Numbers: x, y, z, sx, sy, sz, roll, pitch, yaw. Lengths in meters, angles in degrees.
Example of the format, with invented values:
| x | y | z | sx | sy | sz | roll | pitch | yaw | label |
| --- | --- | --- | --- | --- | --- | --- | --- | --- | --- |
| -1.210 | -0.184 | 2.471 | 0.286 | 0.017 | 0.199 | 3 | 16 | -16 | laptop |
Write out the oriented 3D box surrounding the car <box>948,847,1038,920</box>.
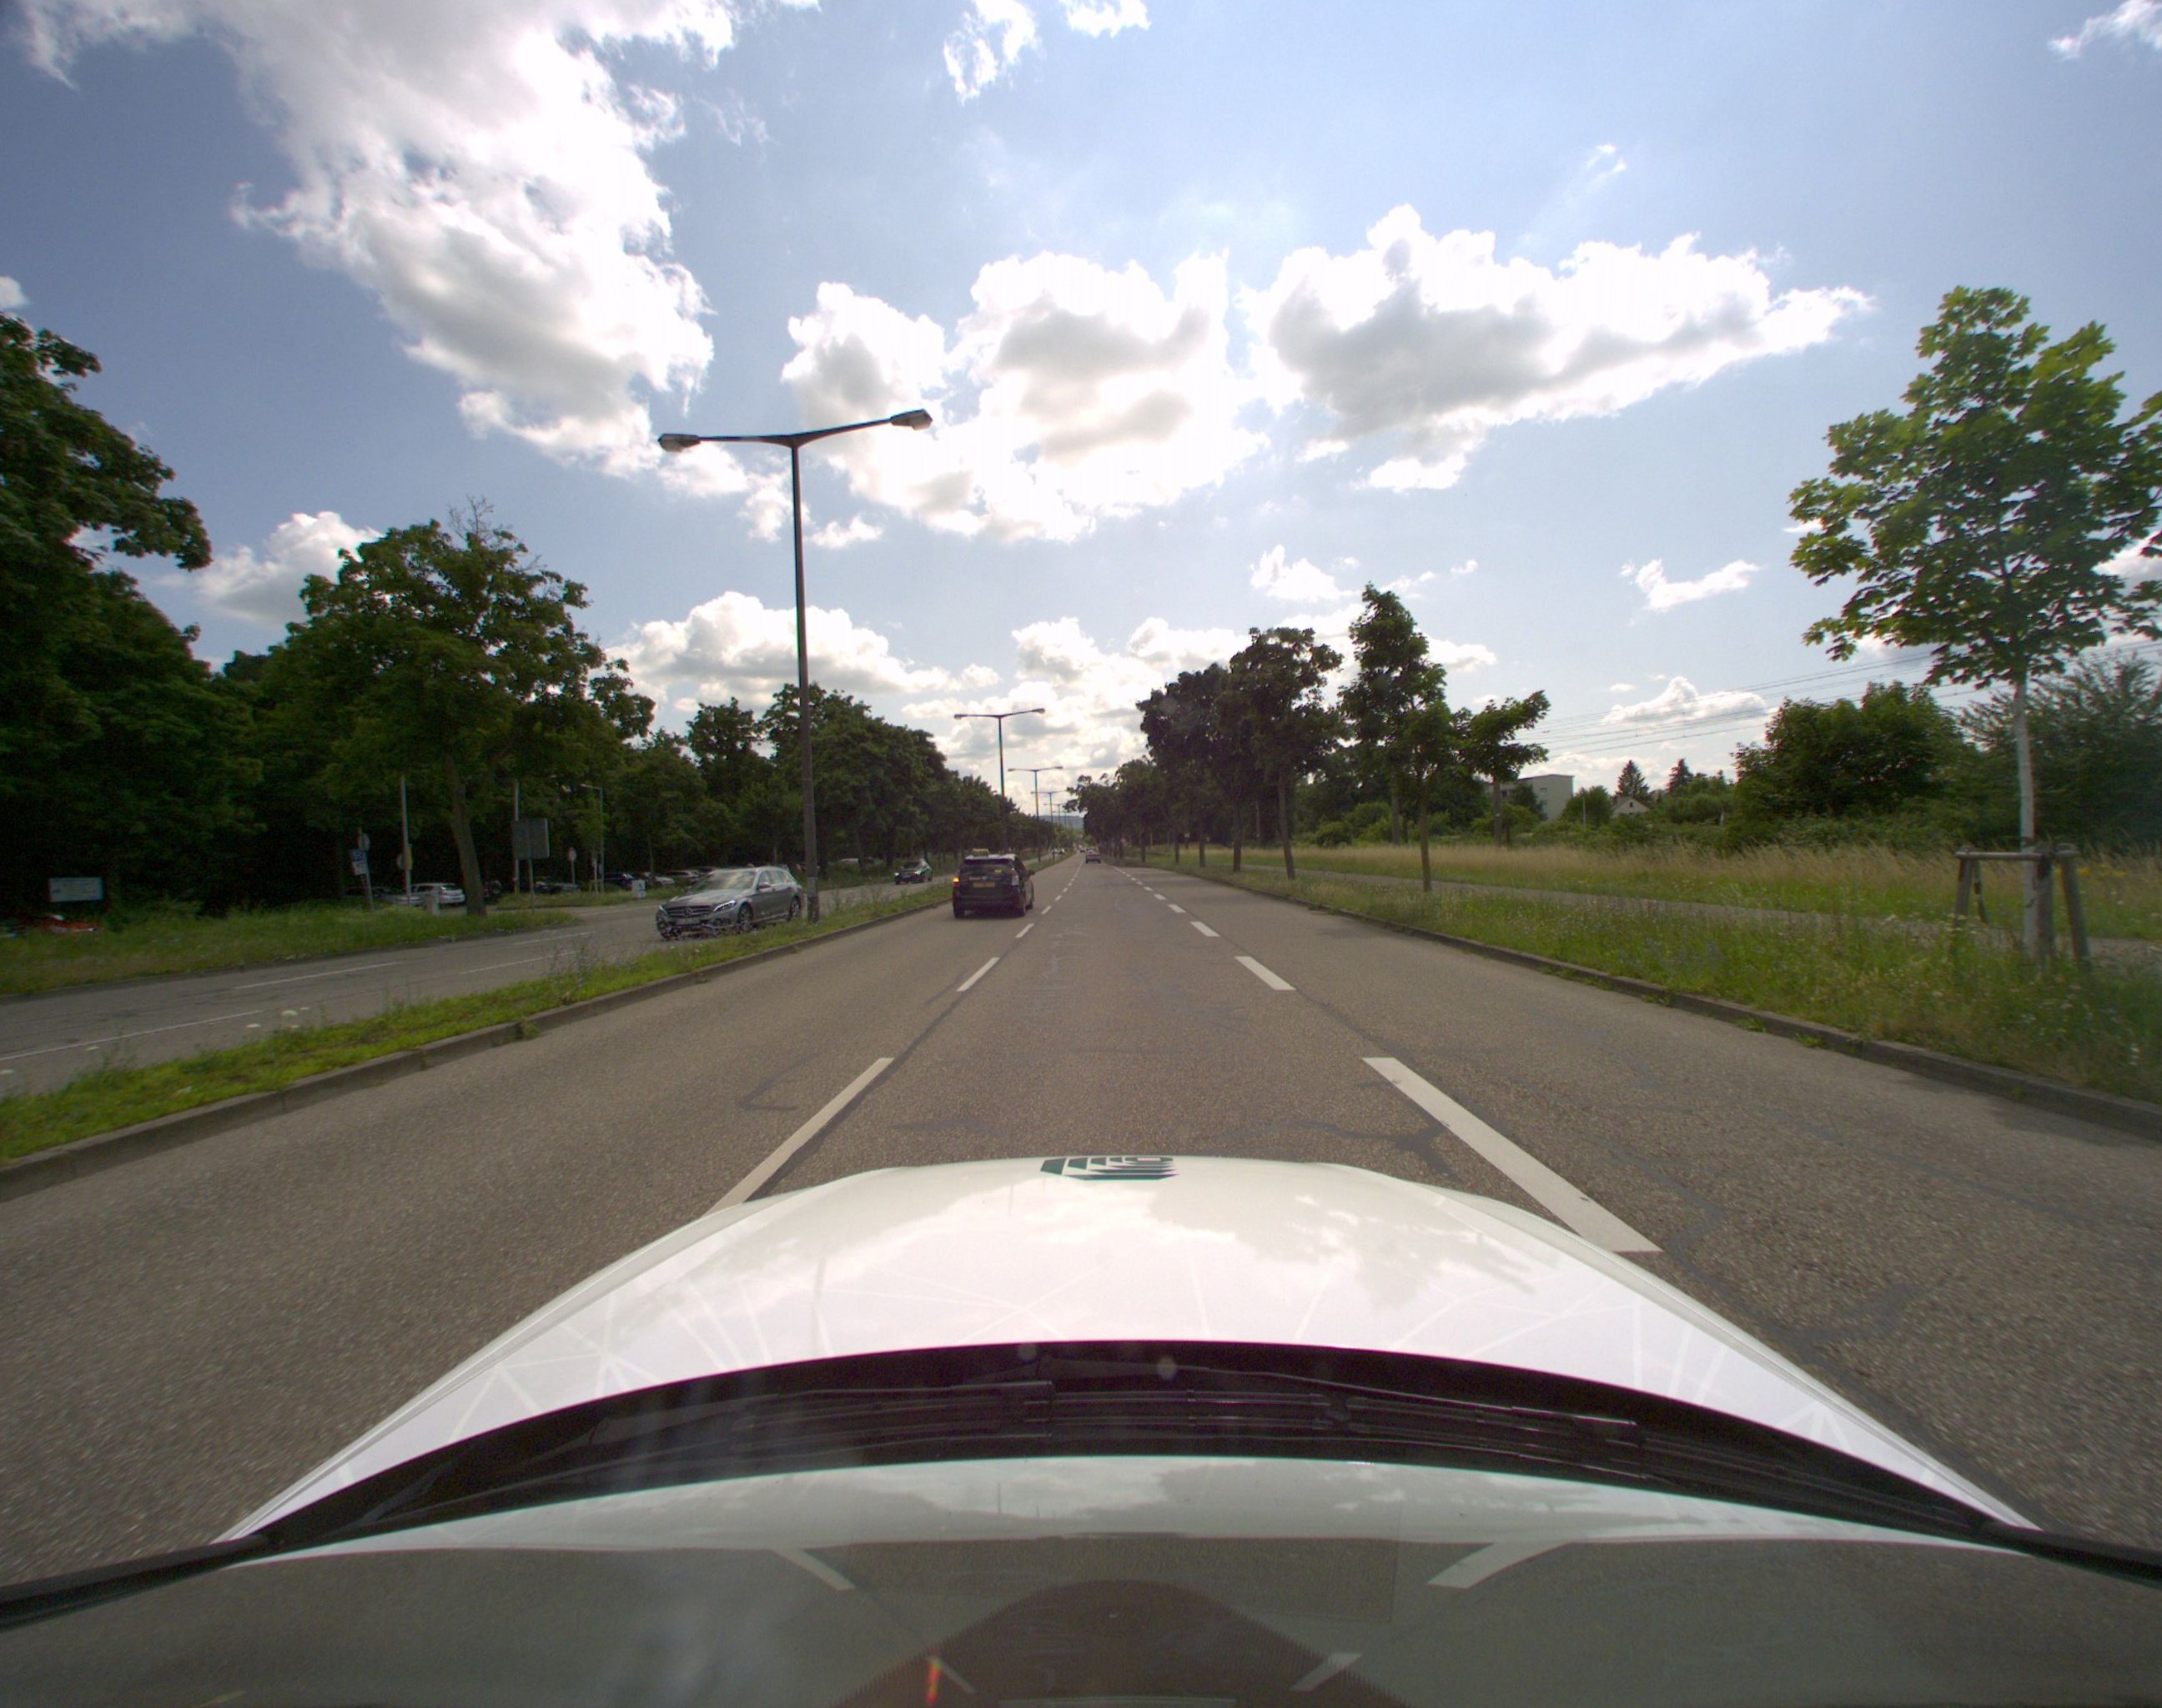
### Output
| x | y | z | sx | sy | sz | roll | pitch | yaw | label |
| --- | --- | --- | --- | --- | --- | --- | --- | --- | --- |
| -2.201 | 0.683 | 21.444 | 1.773 | 1.684 | 4.002 | -1 | 1 | 2 | car |

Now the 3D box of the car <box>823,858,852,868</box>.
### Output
| x | y | z | sx | sy | sz | roll | pitch | yaw | label |
| --- | --- | --- | --- | --- | --- | --- | --- | --- | --- |
| -37.149 | 1.374 | 124.194 | 3.767 | 1.387 | 1.788 | -1 | 1 | 5 | car |

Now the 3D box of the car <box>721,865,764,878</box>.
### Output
| x | y | z | sx | sy | sz | roll | pitch | yaw | label |
| --- | --- | --- | --- | --- | --- | --- | --- | --- | --- |
| -36.671 | 1.891 | 88.275 | 3.767 | 1.387 | 1.788 | -1 | 1 | 5 | car |

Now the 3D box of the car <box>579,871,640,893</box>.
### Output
| x | y | z | sx | sy | sz | roll | pitch | yaw | label |
| --- | --- | --- | --- | --- | --- | --- | --- | --- | --- |
| -37.357 | 2.200 | 64.604 | 3.767 | 1.568 | 1.788 | -1 | 1 | 5 | car |

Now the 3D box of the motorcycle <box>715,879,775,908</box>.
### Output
| x | y | z | sx | sy | sz | roll | pitch | yaw | label |
| --- | --- | --- | --- | --- | --- | --- | --- | --- | --- |
| -10.972 | 1.267 | 26.730 | 0.749 | 0.772 | 2.673 | -1 | 1 | 2 | motorcycle |

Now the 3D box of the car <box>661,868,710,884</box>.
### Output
| x | y | z | sx | sy | sz | roll | pitch | yaw | label |
| --- | --- | --- | --- | --- | --- | --- | --- | --- | --- |
| -37.494 | 2.102 | 77.333 | 3.765 | 1.387 | 1.789 | -1 | 1 | 6 | car |

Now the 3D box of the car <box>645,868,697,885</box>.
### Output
| x | y | z | sx | sy | sz | roll | pitch | yaw | label |
| --- | --- | --- | --- | --- | --- | --- | --- | --- | --- |
| -37.371 | 2.026 | 74.256 | 3.767 | 1.387 | 1.788 | -1 | 1 | 5 | car |

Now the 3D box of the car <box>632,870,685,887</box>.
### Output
| x | y | z | sx | sy | sz | roll | pitch | yaw | label |
| --- | --- | --- | --- | --- | --- | --- | --- | --- | --- |
| -37.304 | 2.160 | 71.929 | 3.767 | 1.387 | 1.788 | -1 | 1 | 5 | car |

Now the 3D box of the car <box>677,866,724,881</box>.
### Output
| x | y | z | sx | sy | sz | roll | pitch | yaw | label |
| --- | --- | --- | --- | --- | --- | --- | --- | --- | --- |
| -37.386 | 1.900 | 79.992 | 3.767 | 1.387 | 1.788 | -1 | 1 | 5 | car |

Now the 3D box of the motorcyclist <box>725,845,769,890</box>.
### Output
| x | y | z | sx | sy | sz | roll | pitch | yaw | label |
| --- | --- | --- | --- | --- | --- | --- | --- | --- | --- |
| -10.954 | 0.434 | 26.769 | 0.824 | 1.414 | 1.329 | -1 | 1 | 2 | motorcyclist |

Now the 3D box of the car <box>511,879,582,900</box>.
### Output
| x | y | z | sx | sy | sz | roll | pitch | yaw | label |
| --- | --- | --- | --- | --- | --- | --- | --- | --- | --- |
| -37.411 | 2.475 | 57.039 | 3.771 | 1.247 | 1.786 | -1 | 1 | 1 | car |

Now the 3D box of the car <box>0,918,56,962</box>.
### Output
| x | y | z | sx | sy | sz | roll | pitch | yaw | label |
| --- | --- | --- | --- | --- | --- | --- | --- | --- | --- |
| -36.161 | 2.812 | 26.358 | 3.769 | 1.267 | 1.787 | -1 | 1 | 3 | car |

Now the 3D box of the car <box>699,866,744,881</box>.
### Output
| x | y | z | sx | sy | sz | roll | pitch | yaw | label |
| --- | --- | --- | --- | --- | --- | --- | --- | --- | --- |
| -36.909 | 1.997 | 83.743 | 3.767 | 1.387 | 1.788 | -1 | 1 | 5 | car |

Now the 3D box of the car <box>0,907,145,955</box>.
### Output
| x | y | z | sx | sy | sz | roll | pitch | yaw | label |
| --- | --- | --- | --- | --- | --- | --- | --- | --- | --- |
| -36.577 | 2.759 | 29.314 | 3.769 | 1.508 | 1.787 | -1 | 1 | 3 | car |

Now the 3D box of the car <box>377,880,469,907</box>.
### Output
| x | y | z | sx | sy | sz | roll | pitch | yaw | label |
| --- | --- | --- | --- | --- | --- | --- | --- | --- | --- |
| -37.724 | 2.254 | 46.744 | 3.771 | 1.428 | 1.786 | -1 | 1 | 1 | car |

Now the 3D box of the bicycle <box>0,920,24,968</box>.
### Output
| x | y | z | sx | sy | sz | roll | pitch | yaw | label |
| --- | --- | --- | --- | --- | --- | --- | --- | --- | --- |
| -22.723 | 1.893 | 16.307 | 0.565 | 0.978 | 1.918 | -2 | 0 | 2 | bicycle |

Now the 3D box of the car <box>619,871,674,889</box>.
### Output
| x | y | z | sx | sy | sz | roll | pitch | yaw | label |
| --- | --- | --- | --- | --- | --- | --- | --- | --- | --- |
| -37.250 | 2.229 | 69.923 | 3.767 | 1.387 | 1.788 | -1 | 1 | 5 | car |

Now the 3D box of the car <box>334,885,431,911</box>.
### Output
| x | y | z | sx | sy | sz | roll | pitch | yaw | label |
| --- | --- | --- | --- | --- | --- | --- | --- | --- | --- |
| -37.908 | 2.365 | 44.250 | 3.769 | 1.247 | 1.787 | -1 | 1 | 3 | car |

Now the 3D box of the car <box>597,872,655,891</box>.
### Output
| x | y | z | sx | sy | sz | roll | pitch | yaw | label |
| --- | --- | --- | --- | --- | --- | --- | --- | --- | --- |
| -37.530 | 2.257 | 67.232 | 3.767 | 1.387 | 1.788 | -1 | 1 | 5 | car |

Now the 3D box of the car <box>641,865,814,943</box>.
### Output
| x | y | z | sx | sy | sz | roll | pitch | yaw | label |
| --- | --- | --- | --- | --- | --- | --- | --- | --- | --- |
| -8.033 | 1.053 | 19.076 | 1.804 | 1.398 | 4.735 | -2 | 1 | 2 | car |

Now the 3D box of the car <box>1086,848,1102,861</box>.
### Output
| x | y | z | sx | sy | sz | roll | pitch | yaw | label |
| --- | --- | --- | --- | --- | --- | --- | --- | --- | --- |
| 1.703 | 0.066 | 106.178 | 1.987 | 1.508 | 4.000 | -1 | 1 | 0 | car |

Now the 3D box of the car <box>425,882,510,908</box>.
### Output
| x | y | z | sx | sy | sz | roll | pitch | yaw | label |
| --- | --- | --- | --- | --- | --- | --- | --- | --- | --- |
| -37.463 | 2.495 | 49.793 | 3.771 | 1.386 | 1.786 | -1 | 1 | 1 | car |

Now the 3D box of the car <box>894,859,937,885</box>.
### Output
| x | y | z | sx | sy | sz | roll | pitch | yaw | label |
| --- | --- | --- | --- | --- | --- | --- | --- | --- | --- |
| -10.577 | 1.137 | 52.257 | 1.748 | 1.459 | 4.470 | -1 | 1 | 1 | car |
